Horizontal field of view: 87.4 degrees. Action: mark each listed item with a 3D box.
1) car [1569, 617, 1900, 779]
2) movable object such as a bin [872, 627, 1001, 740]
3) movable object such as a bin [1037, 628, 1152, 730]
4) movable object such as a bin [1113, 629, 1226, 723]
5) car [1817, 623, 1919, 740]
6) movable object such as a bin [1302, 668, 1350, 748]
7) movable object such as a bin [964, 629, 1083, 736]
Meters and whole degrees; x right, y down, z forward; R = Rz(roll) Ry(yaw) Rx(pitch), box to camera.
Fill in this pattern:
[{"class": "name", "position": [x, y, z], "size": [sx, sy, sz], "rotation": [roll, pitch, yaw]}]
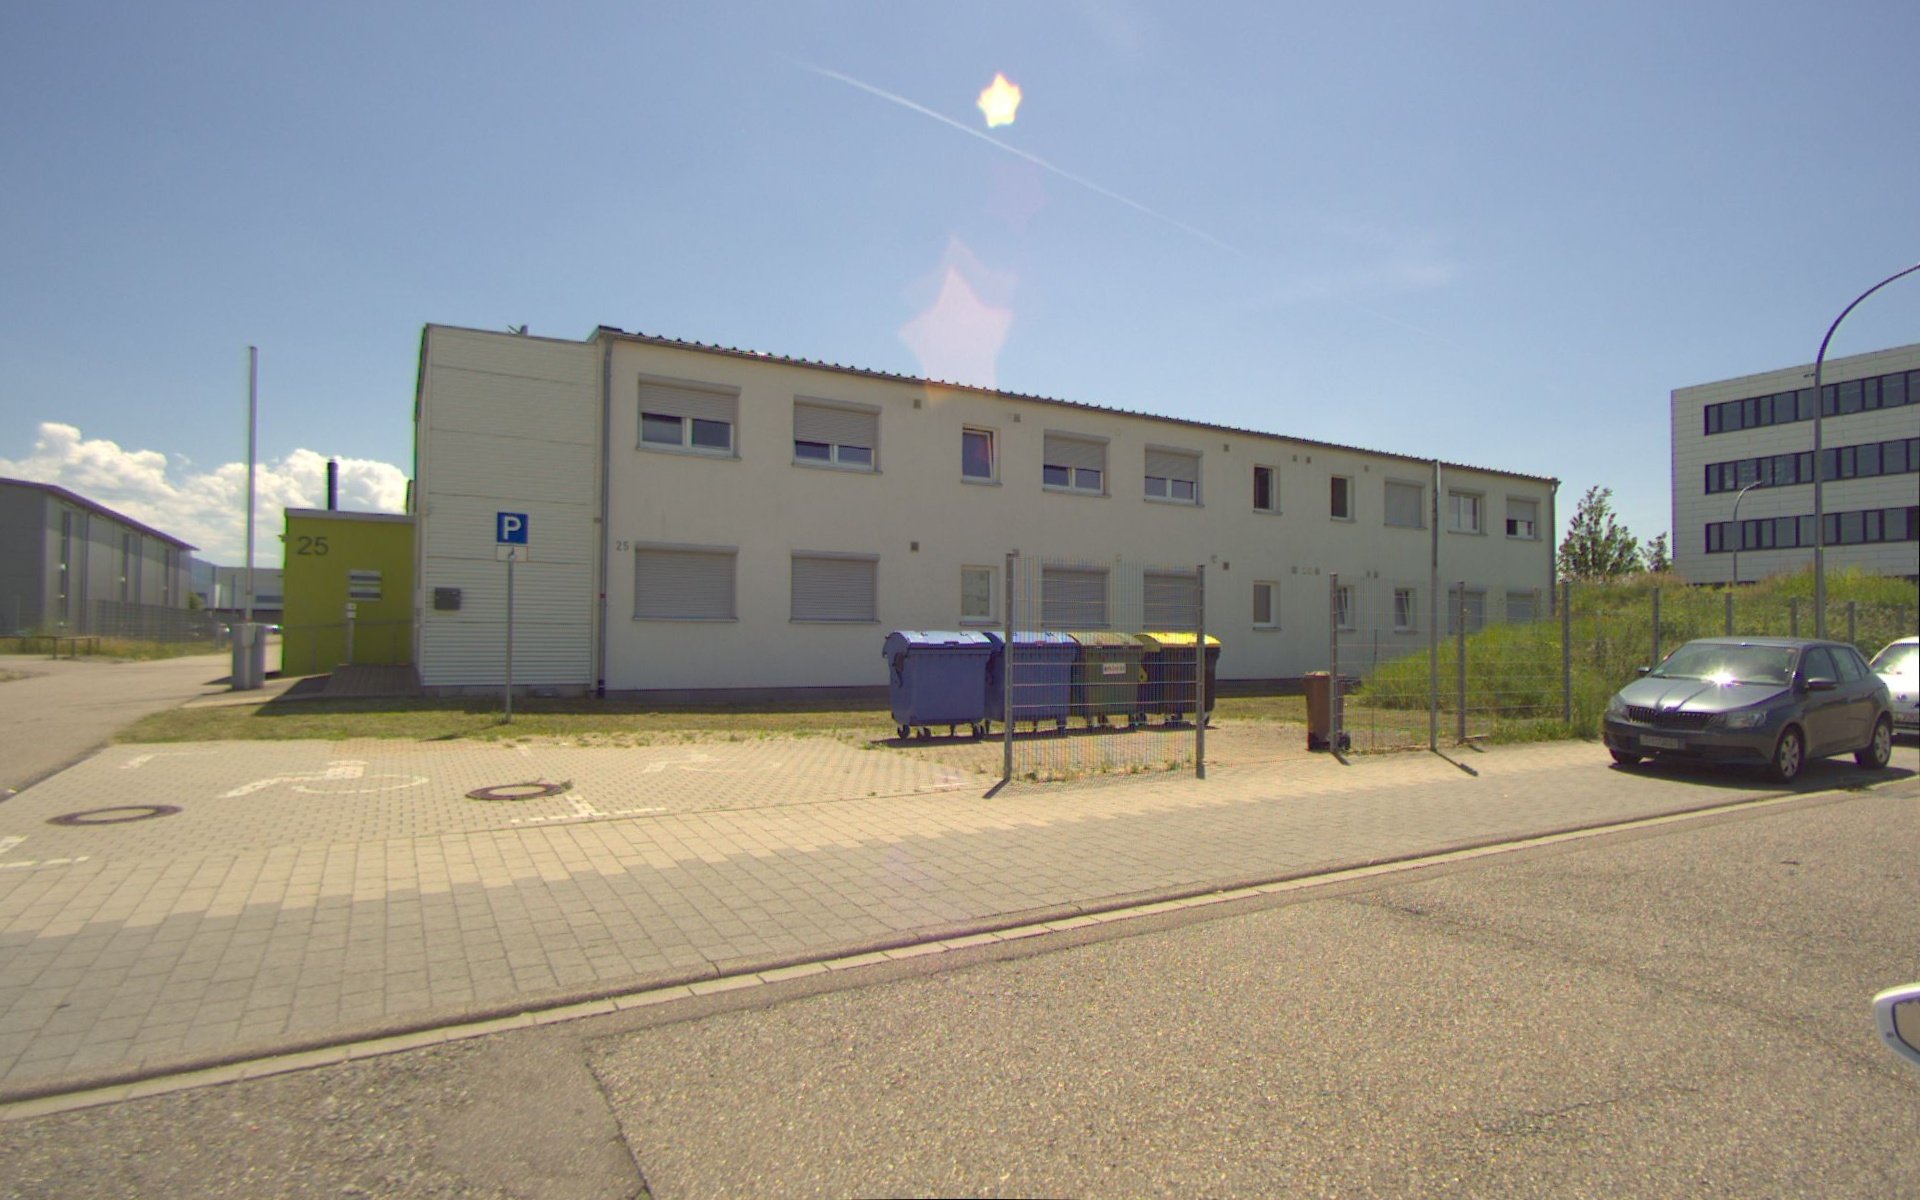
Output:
[{"class": "car", "position": [8.808, 1.012, 11.362], "size": [3.864, 1.550, 1.666], "rotation": [2, -2, -30]}, {"class": "movable object such as a bin", "position": [-0.336, 1.121, 13.902], "size": [1.416, 1.467, 1.139], "rotation": [2, -2, -27]}, {"class": "movable object such as a bin", "position": [2.064, 1.182, 15.426], "size": [1.373, 1.467, 1.082], "rotation": [2, -2, -31]}, {"class": "movable object such as a bin", "position": [3.353, 1.184, 16.117], "size": [1.370, 1.423, 1.138], "rotation": [2, -2, -28]}, {"class": "car", "position": [14.366, 1.162, 14.687], "size": [3.714, 1.550, 1.666], "rotation": [2, -1, -30]}, {"class": "movable object such as a bin", "position": [4.523, 1.324, 12.424], "size": [0.490, 0.952, 0.303], "rotation": [2, -2, -28]}, {"class": "movable object such as a bin", "position": [0.912, 1.164, 14.601], "size": [1.354, 1.467, 1.120], "rotation": [2, -2, -27]}]
